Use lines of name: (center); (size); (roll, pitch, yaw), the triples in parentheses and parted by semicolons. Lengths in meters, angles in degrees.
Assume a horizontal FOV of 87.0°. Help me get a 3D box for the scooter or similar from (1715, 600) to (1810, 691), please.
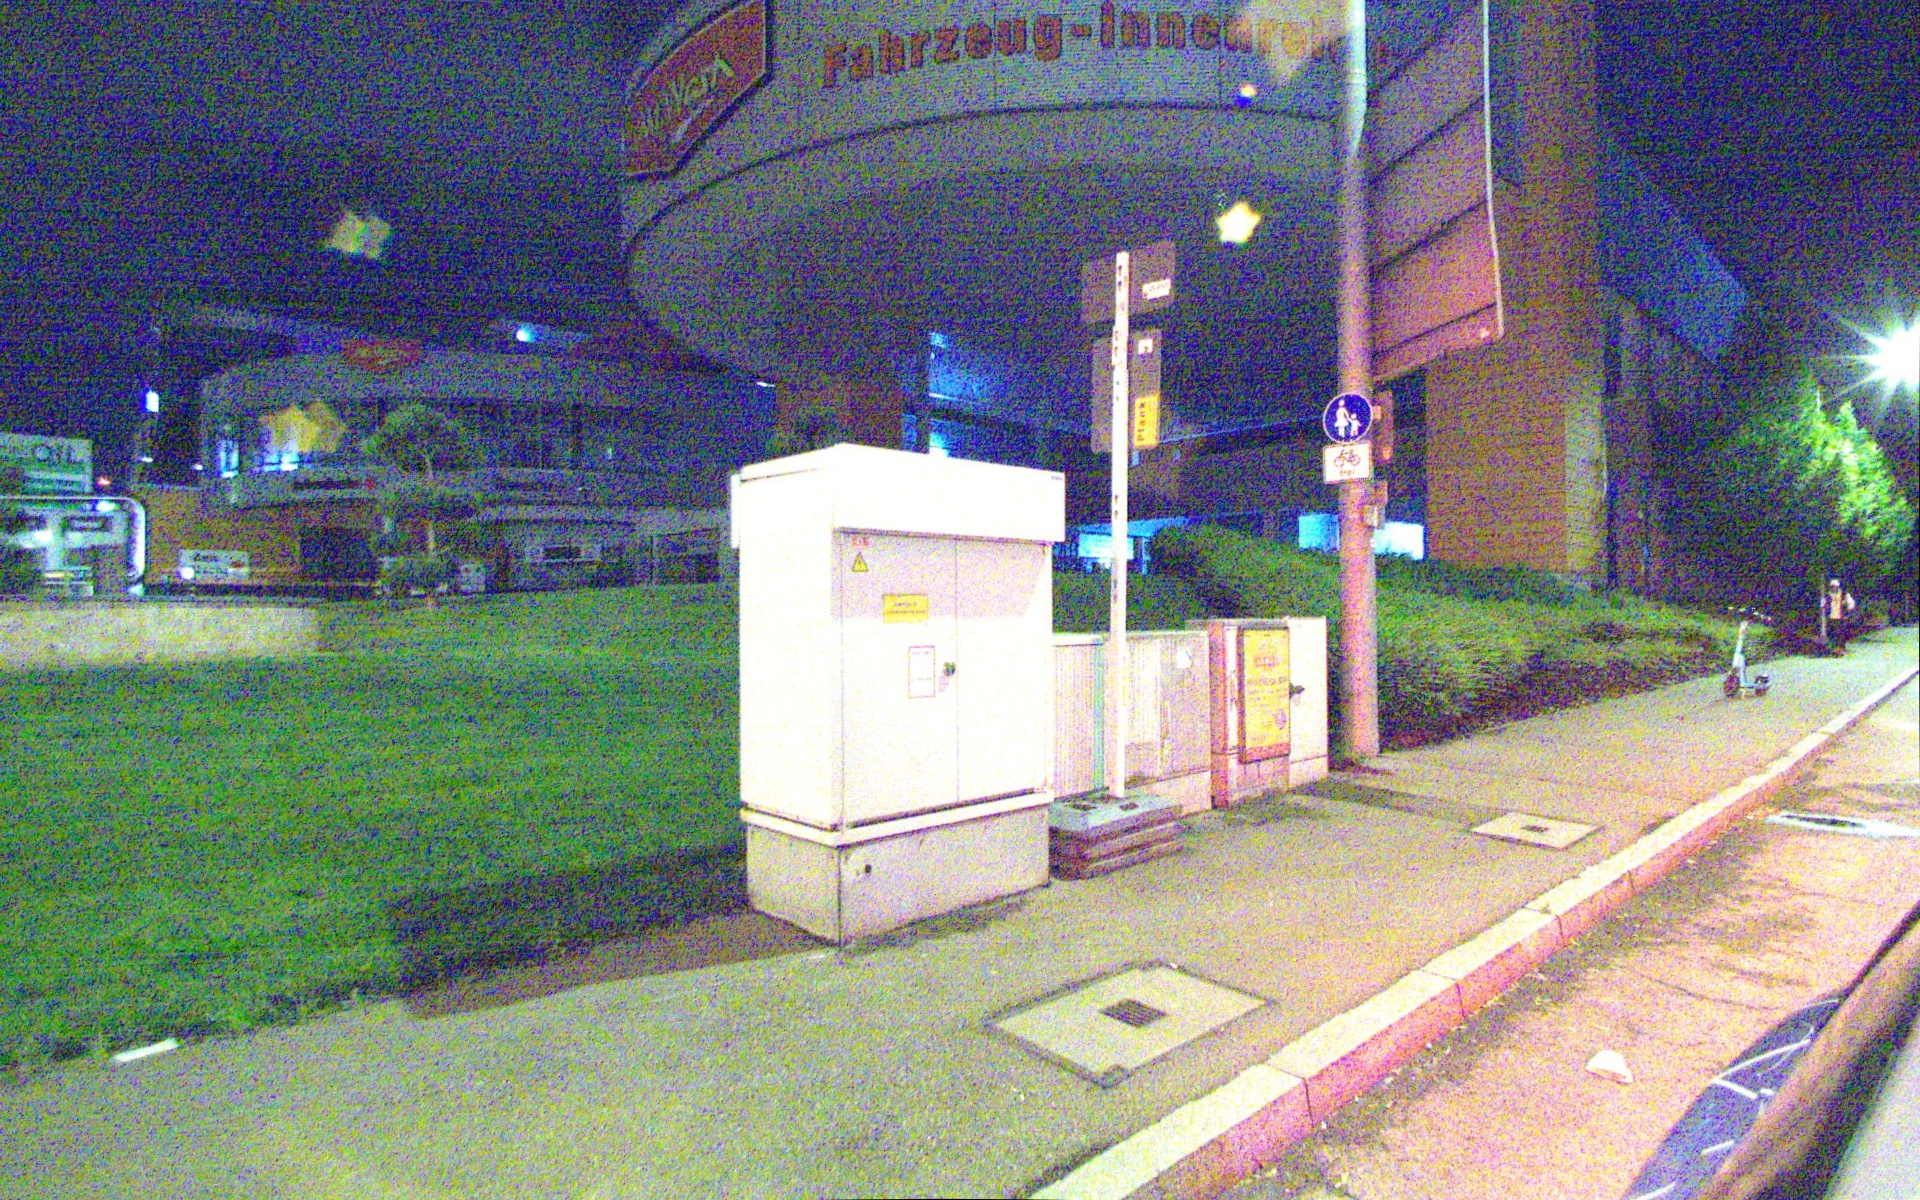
scooter or similar: (11.066, 0.618, 13.960); (1.111, 1.217, 0.470); (1, -1, -17)

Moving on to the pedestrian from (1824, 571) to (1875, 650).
pedestrian: (21.889, 0.243, 24.903); (1.016, 1.888, 0.819); (0, 0, -41)
